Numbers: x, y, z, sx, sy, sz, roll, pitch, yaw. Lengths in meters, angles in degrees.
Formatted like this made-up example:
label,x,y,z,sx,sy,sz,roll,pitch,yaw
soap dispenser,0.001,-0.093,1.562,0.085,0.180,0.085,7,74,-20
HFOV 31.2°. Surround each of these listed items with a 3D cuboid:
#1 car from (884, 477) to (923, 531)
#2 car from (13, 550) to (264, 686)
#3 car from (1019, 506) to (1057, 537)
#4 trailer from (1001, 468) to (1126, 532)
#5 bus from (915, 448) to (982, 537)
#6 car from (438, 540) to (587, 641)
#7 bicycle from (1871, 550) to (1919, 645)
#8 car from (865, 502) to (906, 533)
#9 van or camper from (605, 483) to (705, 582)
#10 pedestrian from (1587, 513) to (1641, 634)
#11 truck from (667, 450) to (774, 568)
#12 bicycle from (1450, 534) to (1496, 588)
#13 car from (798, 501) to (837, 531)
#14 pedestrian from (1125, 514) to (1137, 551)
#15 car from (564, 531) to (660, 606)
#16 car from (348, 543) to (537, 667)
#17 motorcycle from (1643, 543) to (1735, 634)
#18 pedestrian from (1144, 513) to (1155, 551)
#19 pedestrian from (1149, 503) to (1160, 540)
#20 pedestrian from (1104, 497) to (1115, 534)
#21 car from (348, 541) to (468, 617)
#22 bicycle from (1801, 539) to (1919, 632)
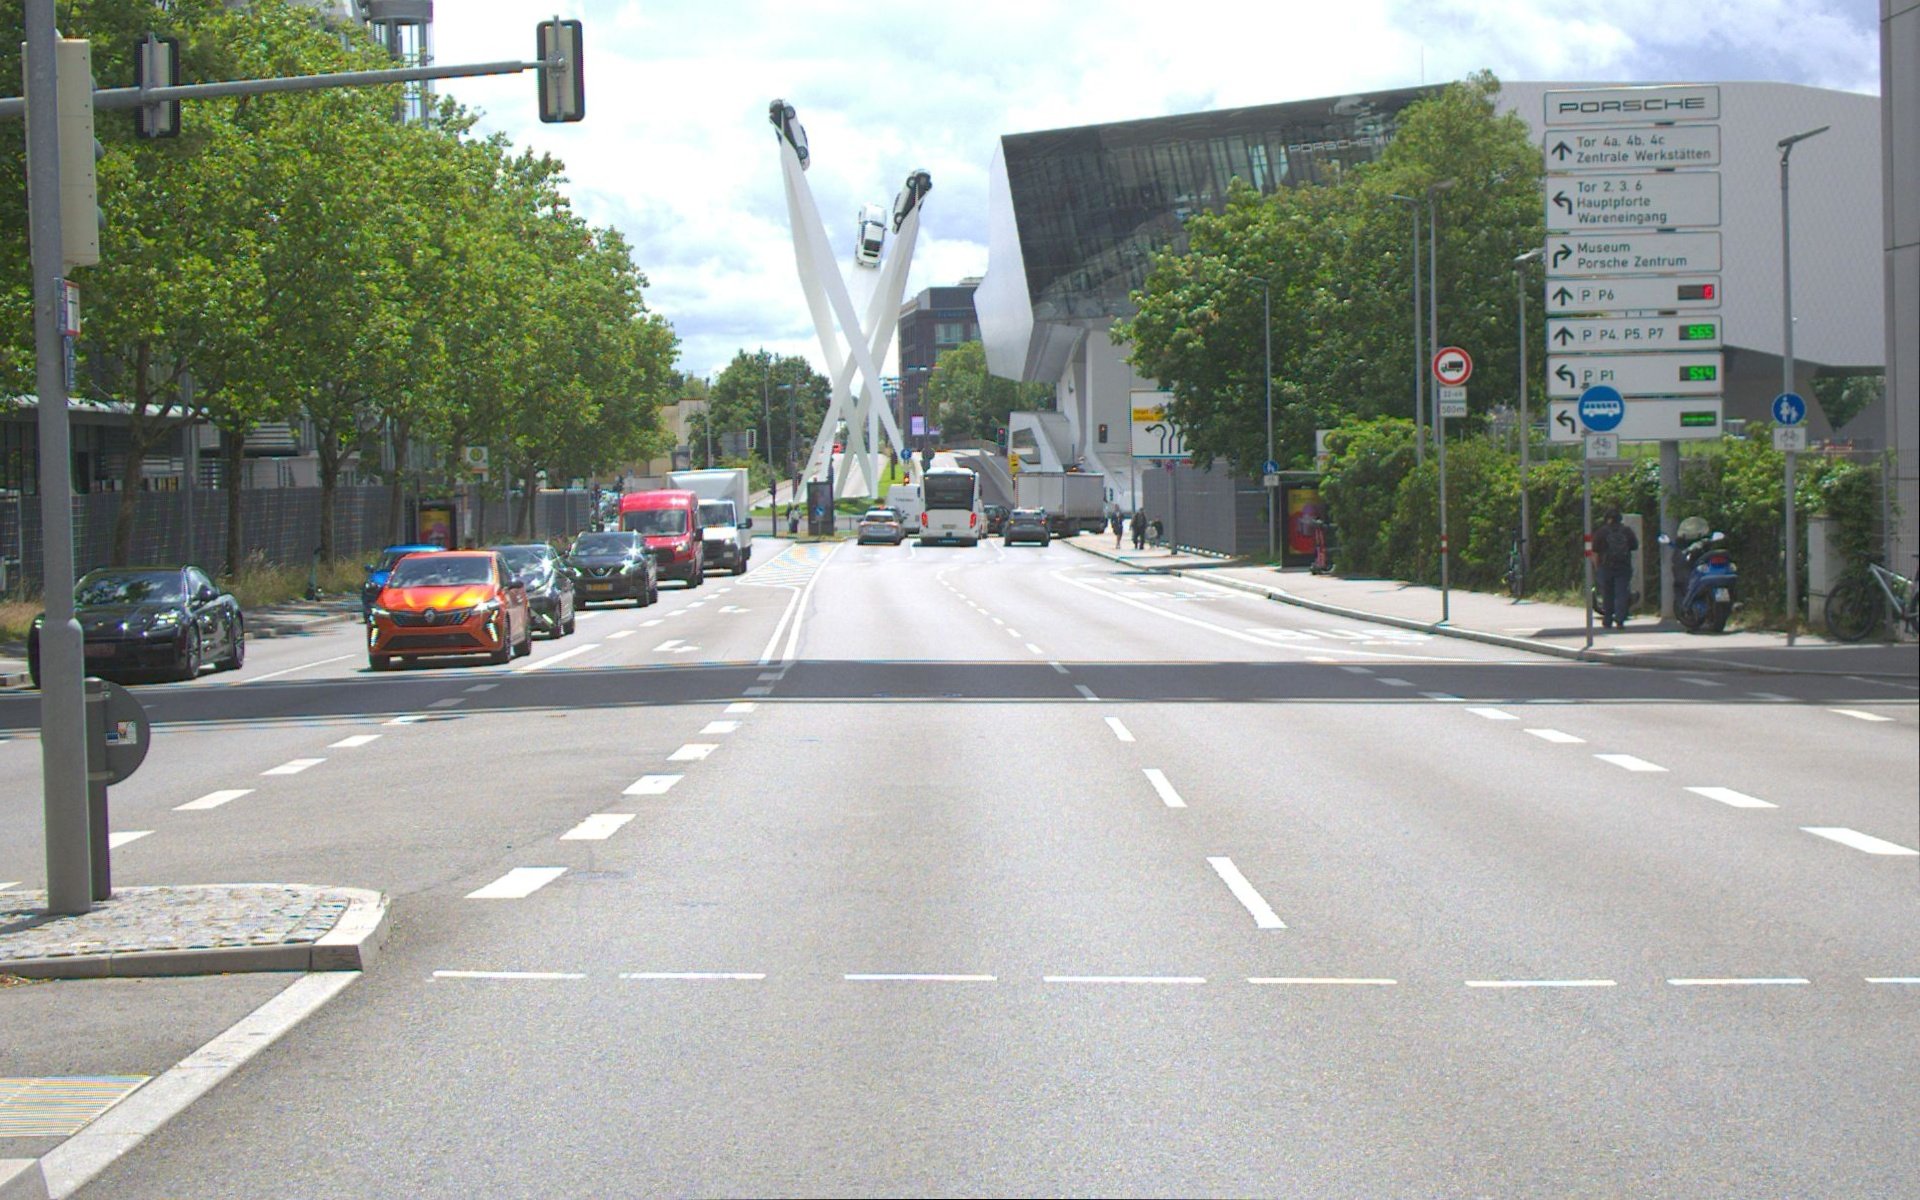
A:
label,x,y,z,sx,sy,sz,roll,pitch,yaw
car,-2.790,-4.756,171.019,1.843,2.614,4.000,1,1,0
car,-10.175,0.178,42.950,1.917,1.483,4.772,-3,1,0
car,3.315,-3.339,146.129,1.557,1.269,3.701,-3,1,1
trailer,5.251,-4.967,172.146,3.322,2.984,10.366,1,1,19
bus,-0.475,-4.648,150.109,2.787,3.673,6.943,1,1,0
car,-6.942,-0.173,53.677,1.769,1.415,3.701,-3,1,0
bicycle,11.655,-0.017,39.546,2.222,1.083,0.476,1,1,35
car,-3.204,-3.580,148.710,1.557,1.269,3.701,-3,1,1
van or camper,-7.803,-1.751,88.303,2.047,2.458,5.595,0,1,0
pedestrian,8.911,-0.364,46.832,0.533,1.635,0.658,1,0,-6
truck,-7.032,-2.630,101.668,2.591,3.312,7.079,1,1,0
bicycle,9.730,-0.739,65.271,0.418,1.019,1.913,1,1,-5
car,-6.435,-3.818,155.834,1.557,1.269,3.701,-3,1,0
pedestrian,6.527,-2.583,131.211,0.386,1.416,0.423,1,0,0
car,-7.278,-0.677,72.168,1.557,1.443,3.773,-3,1,0
car,-6.535,0.031,43.743,1.769,1.415,3.701,-3,1,0
motorcycle,9.539,-0.164,45.031,0.418,1.162,1.957,1,1,-11
pedestrian,7.240,-2.600,131.263,0.386,1.416,0.423,1,0,0
pedestrian,7.589,-3.068,134.364,0.386,1.416,0.423,1,0,0
pedestrian,5.875,-3.309,134.787,0.386,1.416,0.423,1,0,0
car,-10.947,-0.444,68.361,1.727,1.378,3.701,-3,1,0
bicycle,11.163,-0.174,40.876,2.222,1.083,0.476,1,1,35
